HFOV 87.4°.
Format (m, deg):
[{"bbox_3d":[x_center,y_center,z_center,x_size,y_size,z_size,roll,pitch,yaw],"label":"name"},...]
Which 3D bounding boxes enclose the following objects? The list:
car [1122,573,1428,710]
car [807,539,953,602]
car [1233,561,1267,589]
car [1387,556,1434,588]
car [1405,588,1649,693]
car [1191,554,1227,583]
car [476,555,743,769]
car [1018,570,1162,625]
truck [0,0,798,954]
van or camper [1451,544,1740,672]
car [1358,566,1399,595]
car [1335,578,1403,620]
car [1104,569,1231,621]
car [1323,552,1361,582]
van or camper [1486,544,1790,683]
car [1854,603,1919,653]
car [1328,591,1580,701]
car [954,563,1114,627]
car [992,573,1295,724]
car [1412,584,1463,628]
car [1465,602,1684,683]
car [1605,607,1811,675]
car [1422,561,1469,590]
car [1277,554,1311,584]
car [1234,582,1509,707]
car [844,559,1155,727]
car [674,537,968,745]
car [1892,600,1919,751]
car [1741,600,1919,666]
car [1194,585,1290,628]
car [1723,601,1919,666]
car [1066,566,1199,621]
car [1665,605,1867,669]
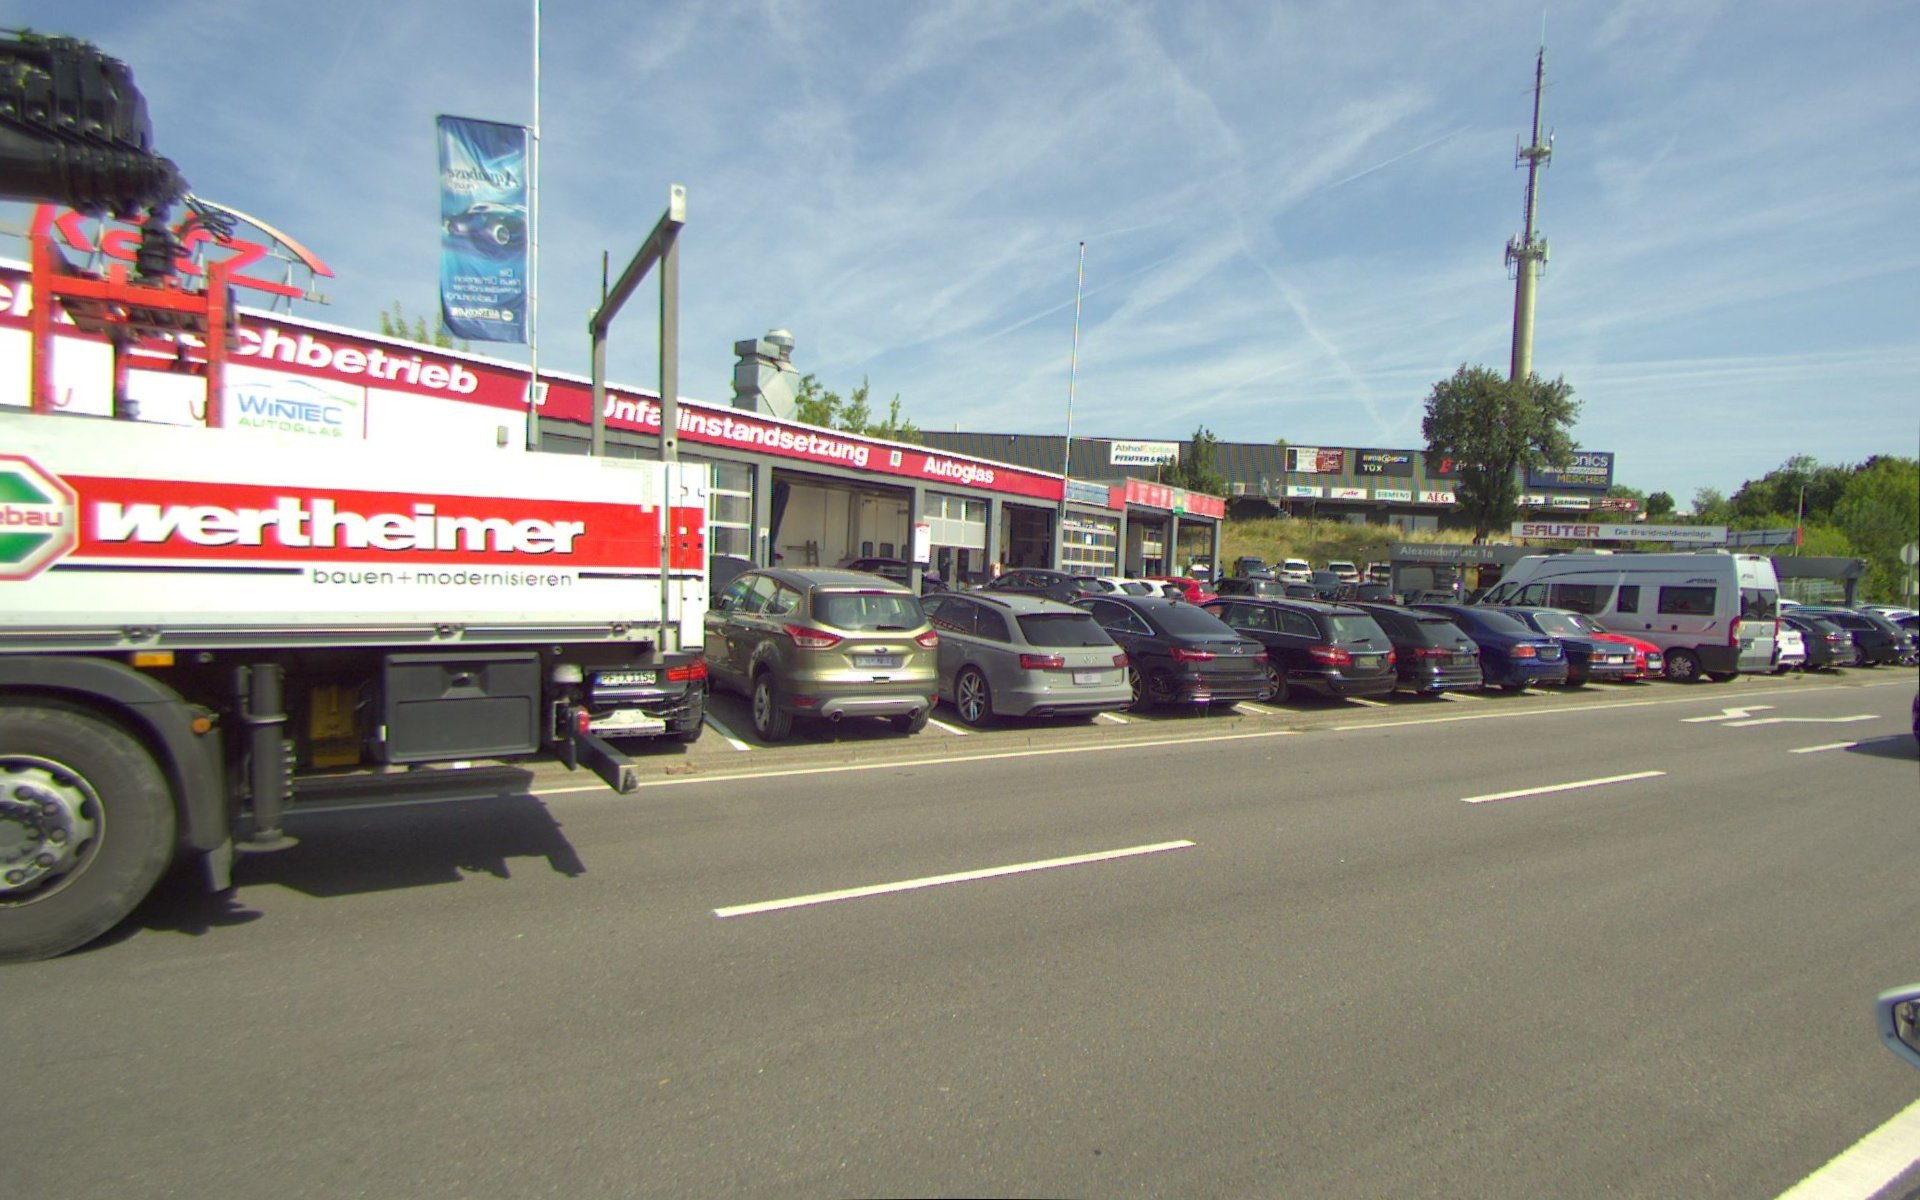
[{"bbox_3d":[4.733,0.531,15.800,1.753,1.505,4.432,1,5,-32],"label":"car"},{"bbox_3d":[-2.315,-0.845,29.704,3.987,1.694,1.887,1,1,-44],"label":"car"},{"bbox_3d":[16.665,-1.428,57.655,1.702,1.470,3.749,3,1,18],"label":"car"},{"bbox_3d":[23.117,-1.412,51.649,1.702,1.470,3.749,3,1,18],"label":"car"},{"bbox_3d":[10.911,0.710,19.578,1.689,1.505,3.686,1,5,-32],"label":"car"},{"bbox_3d":[14.398,-1.808,58.031,1.702,1.470,3.749,3,1,18],"label":"car"},{"bbox_3d":[-3.740,0.463,10.284,1.773,1.546,3.686,1,5,-32],"label":"car"},{"bbox_3d":[3.765,-0.088,29.306,3.767,1.451,1.763,2,1,36],"label":"car"},{"bbox_3d":[-6.153,-0.837,3.998,10.519,4.265,2.943,1,0,-30],"label":"truck"},{"bbox_3d":[16.139,0.074,25.954,2.263,2.912,5.861,0,2,-31],"label":"van or camper"},{"bbox_3d":[23.170,-1.061,55.691,1.702,1.470,3.749,3,1,18],"label":"car"},{"bbox_3d":[17.127,-0.053,42.225,1.733,1.609,3.831,2,1,9],"label":"car"},{"bbox_3d":[6.989,-0.193,33.956,3.767,1.609,1.763,2,1,36],"label":"car"},{"bbox_3d":[21.318,-1.833,56.166,1.702,1.470,3.749,3,1,18],"label":"car"},{"bbox_3d":[15.135,0.187,22.809,2.184,2.768,5.220,1,2,-30],"label":"van or camper"},{"bbox_3d":[34.563,1.033,35.386,2.089,1.716,4.528,2,1,1],"label":"car"},{"bbox_3d":[8.752,0.718,18.081,1.689,1.577,3.686,0,4,-32],"label":"car"},{"bbox_3d":[1.946,-0.158,26.730,3.886,1.553,1.763,2,1,36],"label":"car"},{"bbox_3d":[2.415,0.549,14.385,1.779,1.505,4.273,1,5,-32],"label":"car"},{"bbox_3d":[19.309,0.227,40.630,1.736,1.609,3.825,2,1,25],"label":"car"},{"bbox_3d":[13.052,0.854,21.541,1.791,1.500,3.576,1,1,-30],"label":"car"},{"bbox_3d":[18.940,0.988,25.589,1.822,1.468,3.796,1,1,-32],"label":"car"},{"bbox_3d":[26.333,-1.307,54.564,1.702,1.470,3.749,3,1,18],"label":"car"},{"bbox_3d":[18.892,-1.725,56.891,1.702,1.558,3.749,3,1,18],"label":"car"},{"bbox_3d":[6.682,0.642,16.688,1.782,1.505,3.821,1,5,-32],"label":"car"},{"bbox_3d":[0.297,0.396,12.835,1.816,1.505,4.252,1,5,-32],"label":"car"},{"bbox_3d":[-1.740,0.297,11.320,1.787,1.740,3.863,1,5,-32],"label":"car"},{"bbox_3d":[12.307,0.847,11.066,4.335,1.581,1.797,1,1,-30],"label":"car"},{"bbox_3d":[25.554,0.926,29.427,1.822,1.698,3.796,1,1,-32],"label":"car"},{"bbox_3d":[11.372,0.220,40.756,1.744,1.609,3.807,1,1,-23],"label":"car"},{"bbox_3d":[23.810,0.879,27.876,1.822,1.560,3.796,1,1,-32],"label":"car"},{"bbox_3d":[5.446,-0.228,31.860,3.767,1.609,1.763,2,1,36],"label":"car"},{"bbox_3d":[21.334,0.934,26.734,1.822,1.468,3.796,1,1,-32],"label":"car"}]
